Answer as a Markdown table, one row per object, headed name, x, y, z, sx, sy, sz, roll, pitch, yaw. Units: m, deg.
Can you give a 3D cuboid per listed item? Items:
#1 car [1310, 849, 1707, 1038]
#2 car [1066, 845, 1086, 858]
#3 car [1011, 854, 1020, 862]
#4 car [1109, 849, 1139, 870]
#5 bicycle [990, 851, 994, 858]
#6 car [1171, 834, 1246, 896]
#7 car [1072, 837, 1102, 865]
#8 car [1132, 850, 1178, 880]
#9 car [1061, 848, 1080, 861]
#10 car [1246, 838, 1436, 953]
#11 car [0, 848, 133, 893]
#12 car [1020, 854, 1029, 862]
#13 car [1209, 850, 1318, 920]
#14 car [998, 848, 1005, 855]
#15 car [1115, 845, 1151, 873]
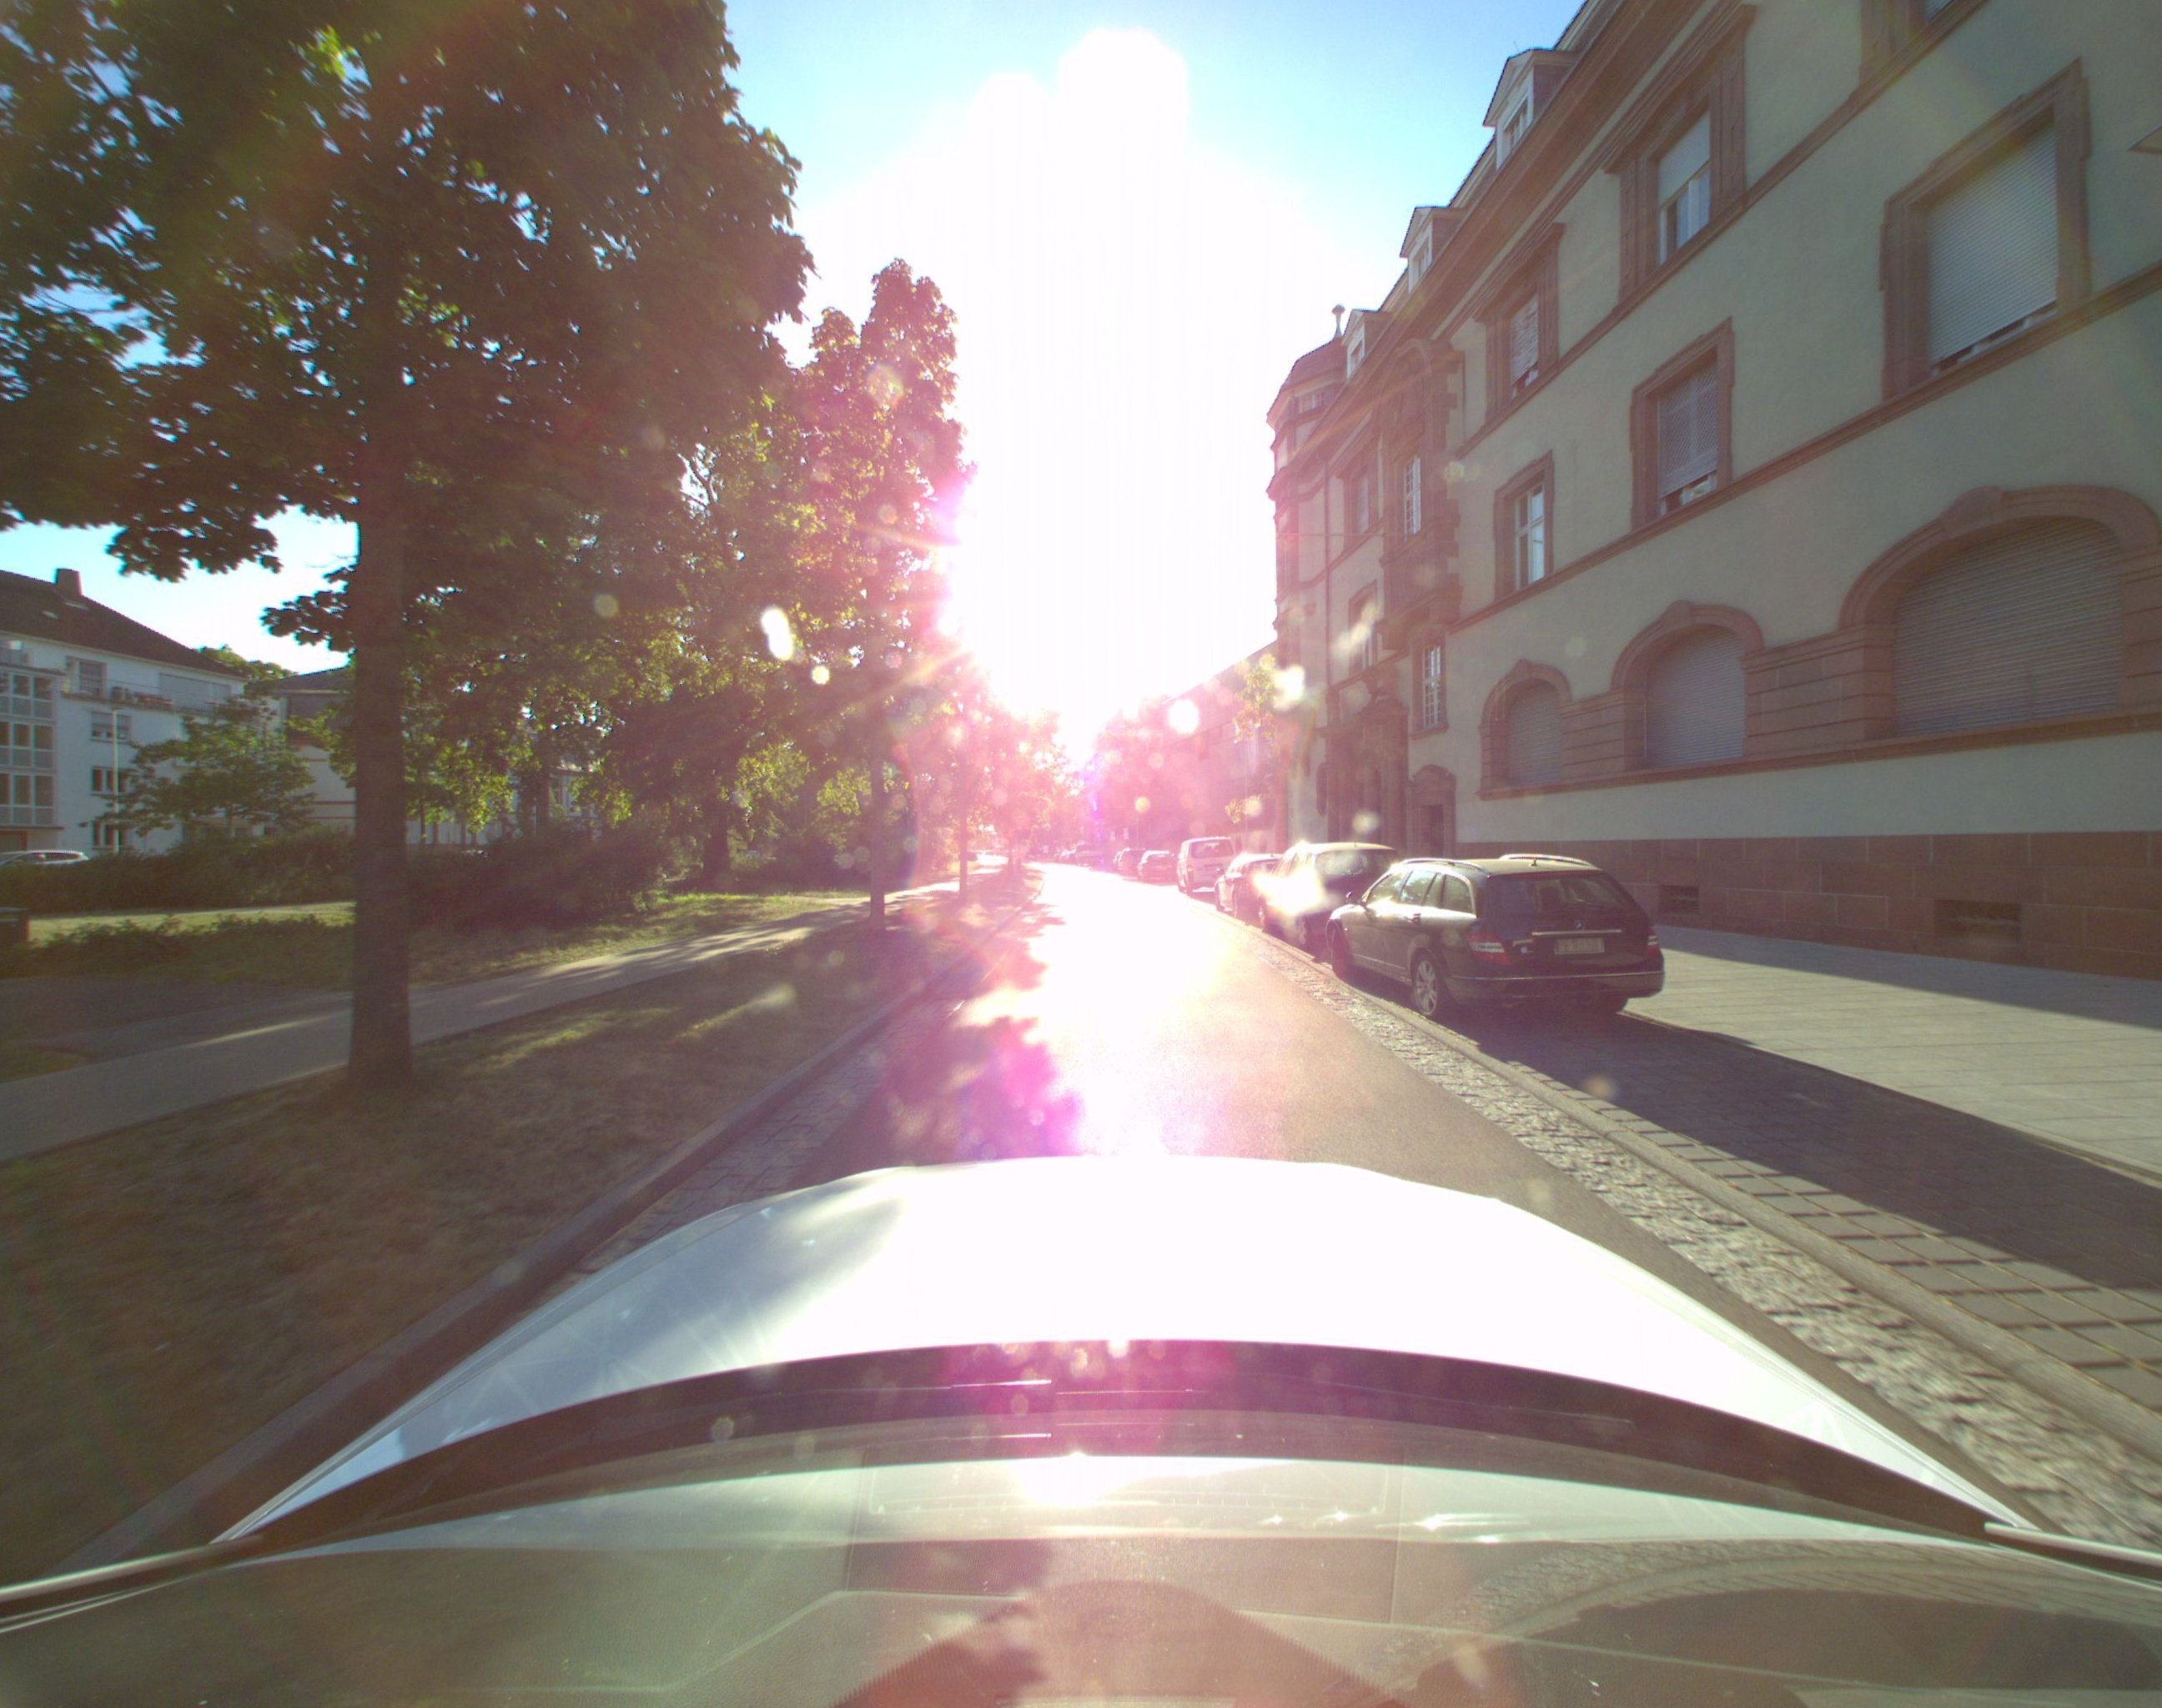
| name | x | y | z | sx | sy | sz | roll | pitch | yaw |
| --- | --- | --- | --- | --- | --- | --- | --- | --- | --- |
| car | 4.051 | 0.698 | 8.760 | 1.865 | 1.436 | 4.522 | -2 | 0 | 0 |
| car | -0.566 | -0.259 | 92.276 | 1.690 | 1.440 | 3.540 | -2 | 1 | -9 |
| car | -13.556 | 0.813 | 169.045 | 1.792 | 1.724 | 3.990 | 0 | 0 | -7 |
| car | 3.038 | 0.358 | 58.466 | 1.720 | 1.421 | 3.902 | -2 | 1 | -3 |
| bicycle | -18.939 | 0.100 | 172.755 | 0.687 | 1.202 | 2.340 | 0 | 3 | -4 |
| car | 4.581 | 0.342 | 29.919 | 1.986 | 1.966 | 4.851 | -4 | 0 | 1 |
| car | 0.543 | -0.328 | 81.261 | 2.209 | 2.529 | 6.133 | -3 | 1 | -7 |
| car | 3.753 | 0.528 | 41.994 | 1.743 | 1.466 | 4.473 | 0 | 0 | -3 |
| car | -1.298 | 0.056 | 97.281 | 1.690 | 1.440 | 4.092 | -2 | 1 | -9 |
| car | 4.207 | 0.590 | 13.913 | 1.810 | 1.602 | 4.191 | -2 | 0 | -1 |
| car | -46.246 | 0.690 | 36.471 | 1.984 | 1.852 | 4.590 | -1 | 0 | 5 |
| car | -10.757 | 0.722 | 155.575 | 1.790 | 1.510 | 3.994 | 0 | 0 | -4 |
| car | 4.203 | 0.657 | 19.424 | 1.673 | 1.403 | 4.200 | -2 | 0 | 1 |
| car | -21.697 | -0.738 | 221.069 | 1.792 | 1.999 | 3.990 | 0 | 0 | -7 |
| car | 3.312 | 0.302 | 52.375 | 1.721 | 1.669 | 4.107 | -2 | 1 | -5 |
